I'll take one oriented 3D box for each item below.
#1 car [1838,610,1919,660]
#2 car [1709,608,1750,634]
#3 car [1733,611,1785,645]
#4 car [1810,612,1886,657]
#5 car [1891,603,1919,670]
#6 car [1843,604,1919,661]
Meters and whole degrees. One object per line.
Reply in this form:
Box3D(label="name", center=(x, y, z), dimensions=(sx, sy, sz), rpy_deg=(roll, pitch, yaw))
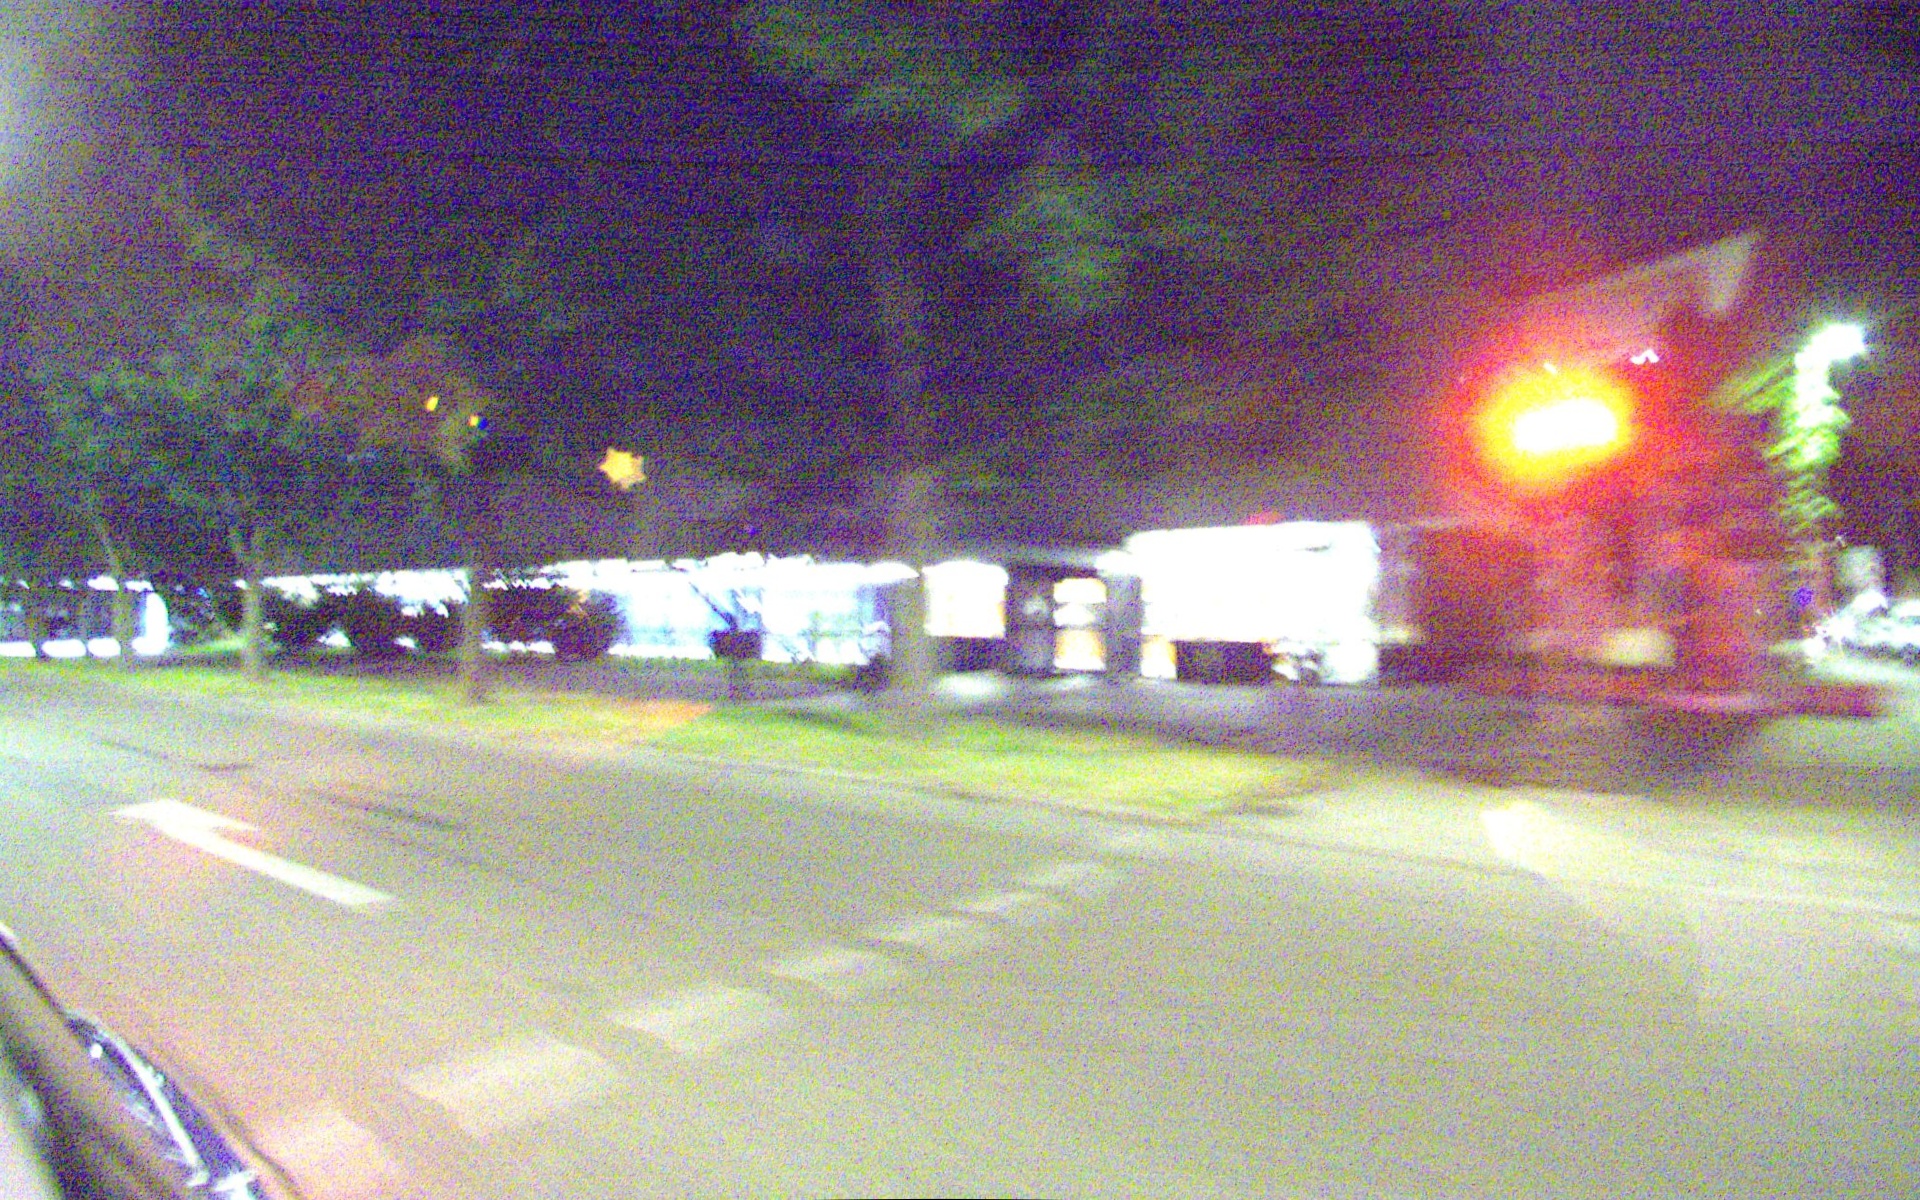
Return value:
Box3D(label="car", center=(34.768, 1.293, 38.228), dimensions=(1.890, 1.689, 4.336), rpy_deg=(4, 1, 36))
Box3D(label="car", center=(51.221, 1.392, 67.432), dimensions=(1.889, 1.690, 4.338), rpy_deg=(0, -1, 34))
Box3D(label="car", center=(43.659, 1.508, 55.368), dimensions=(1.889, 1.690, 4.338), rpy_deg=(1, 0, 34))
Box3D(label="car", center=(37.571, 1.421, 42.928), dimensions=(1.890, 1.689, 4.336), rpy_deg=(4, 1, 36))
Box3D(label="car", center=(26.936, 1.050, 27.487), dimensions=(1.891, 1.721, 4.335), rpy_deg=(4, 1, 37))
Box3D(label="car", center=(30.881, 1.083, 33.549), dimensions=(1.890, 1.689, 4.336), rpy_deg=(4, 1, 36))
